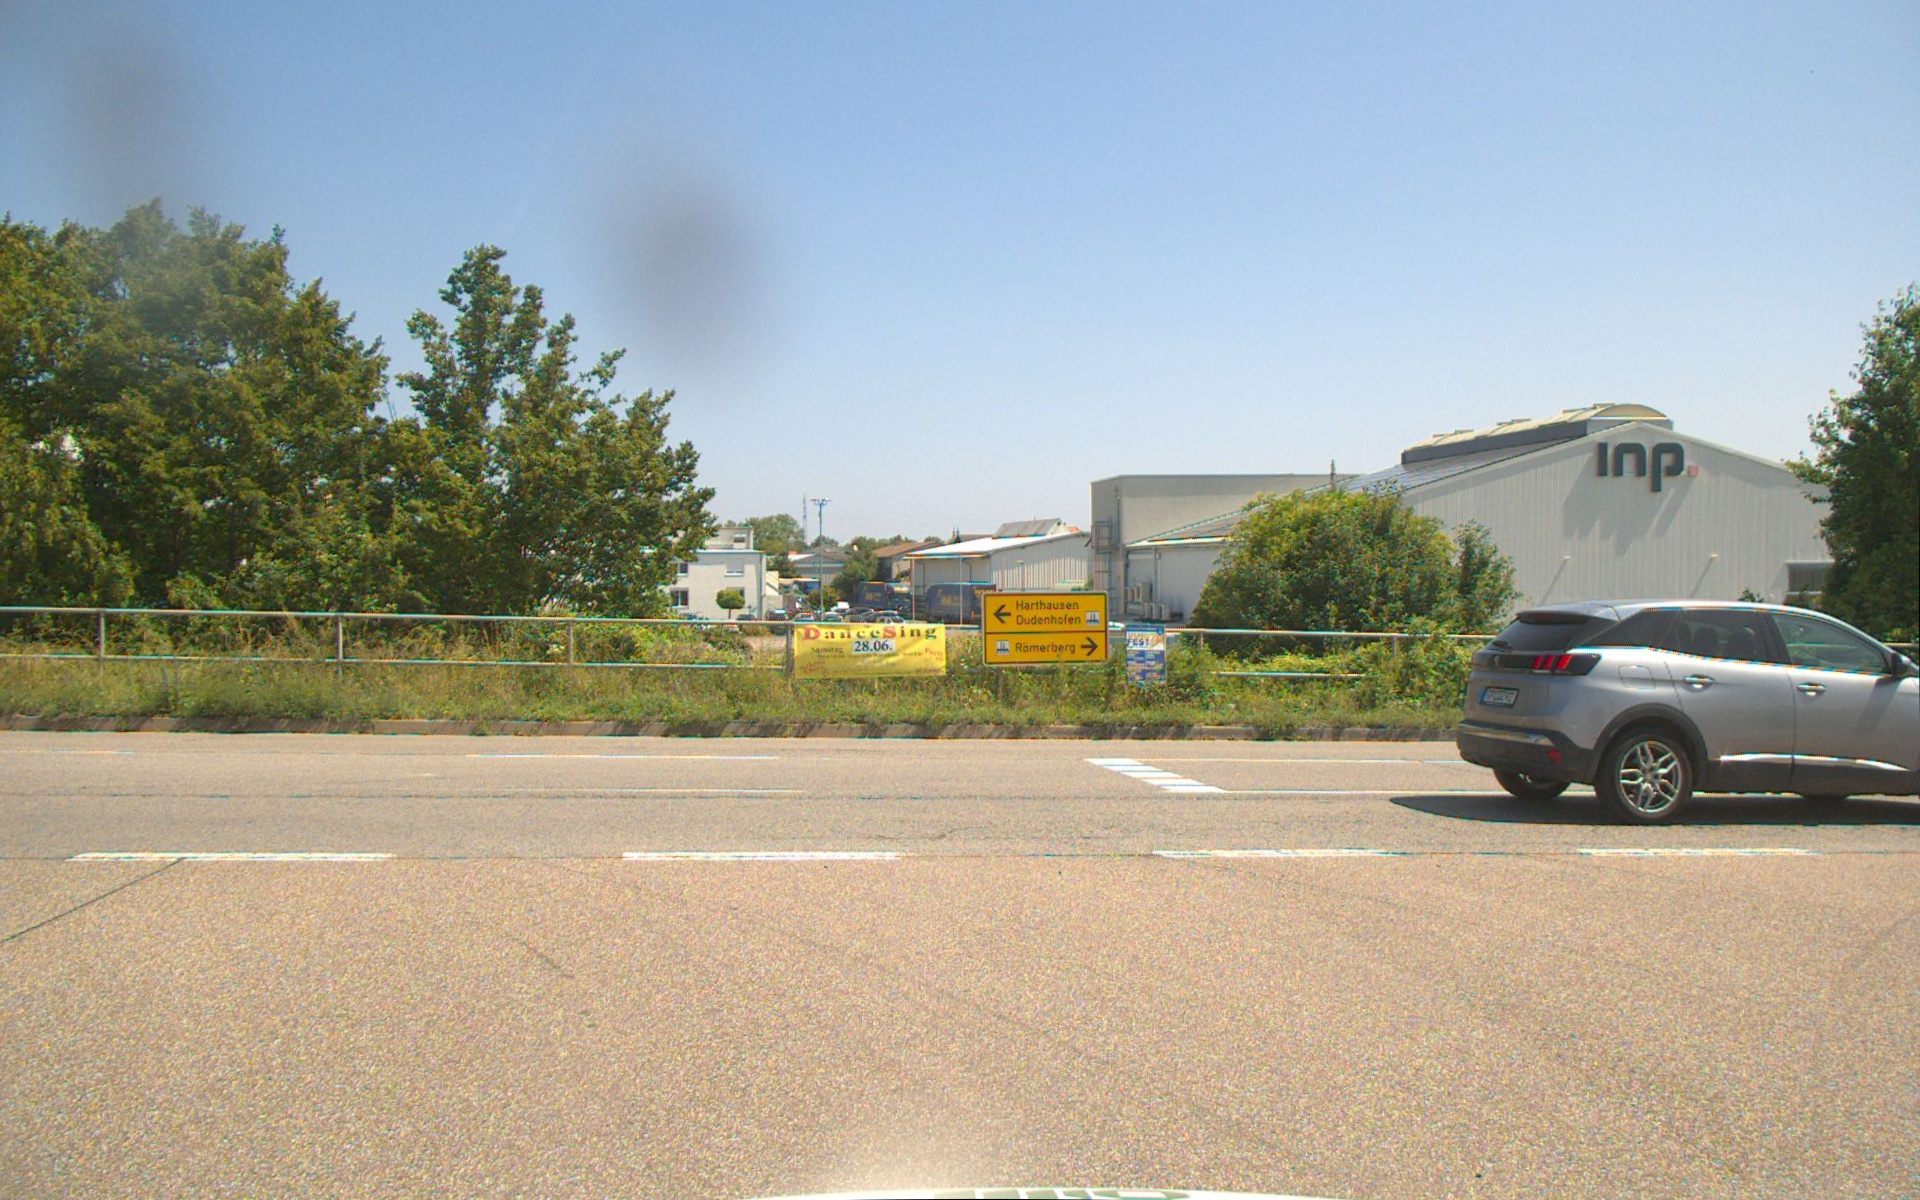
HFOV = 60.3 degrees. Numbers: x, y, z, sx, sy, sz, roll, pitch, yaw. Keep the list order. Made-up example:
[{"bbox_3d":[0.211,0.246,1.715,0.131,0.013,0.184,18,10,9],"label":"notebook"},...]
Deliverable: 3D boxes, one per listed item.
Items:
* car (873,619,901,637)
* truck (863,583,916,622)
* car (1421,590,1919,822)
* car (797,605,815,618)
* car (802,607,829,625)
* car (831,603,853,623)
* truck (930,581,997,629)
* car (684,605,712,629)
[{"bbox_3d":[-6.281,2.377,142.215,1.655,1.387,3.821,-2,1,-14],"label":"car"},{"bbox_3d":[-8.334,0.221,193.407,3.354,4.386,14.540,1,0,-14],"label":"truck"},{"bbox_3d":[6.030,0.791,12.803,4.394,1.611,1.794,1,0,-9],"label":"car"},{"bbox_3d":[-17.098,1.268,183.827,1.427,1.374,3.302,0,0,-15],"label":"car"},{"bbox_3d":[-15.373,1.683,175.616,1.960,1.761,4.844,1,0,-15],"label":"car"},{"bbox_3d":[-12.997,1.423,181.951,1.688,2.049,3.985,0,0,-15],"label":"car"},{"bbox_3d":[0.212,0.432,160.171,3.644,4.386,13.298,1,0,-13],"label":"truck"},{"bbox_3d":[-24.165,1.553,152.515,1.961,2.049,4.843,1,0,-15],"label":"car"}]
